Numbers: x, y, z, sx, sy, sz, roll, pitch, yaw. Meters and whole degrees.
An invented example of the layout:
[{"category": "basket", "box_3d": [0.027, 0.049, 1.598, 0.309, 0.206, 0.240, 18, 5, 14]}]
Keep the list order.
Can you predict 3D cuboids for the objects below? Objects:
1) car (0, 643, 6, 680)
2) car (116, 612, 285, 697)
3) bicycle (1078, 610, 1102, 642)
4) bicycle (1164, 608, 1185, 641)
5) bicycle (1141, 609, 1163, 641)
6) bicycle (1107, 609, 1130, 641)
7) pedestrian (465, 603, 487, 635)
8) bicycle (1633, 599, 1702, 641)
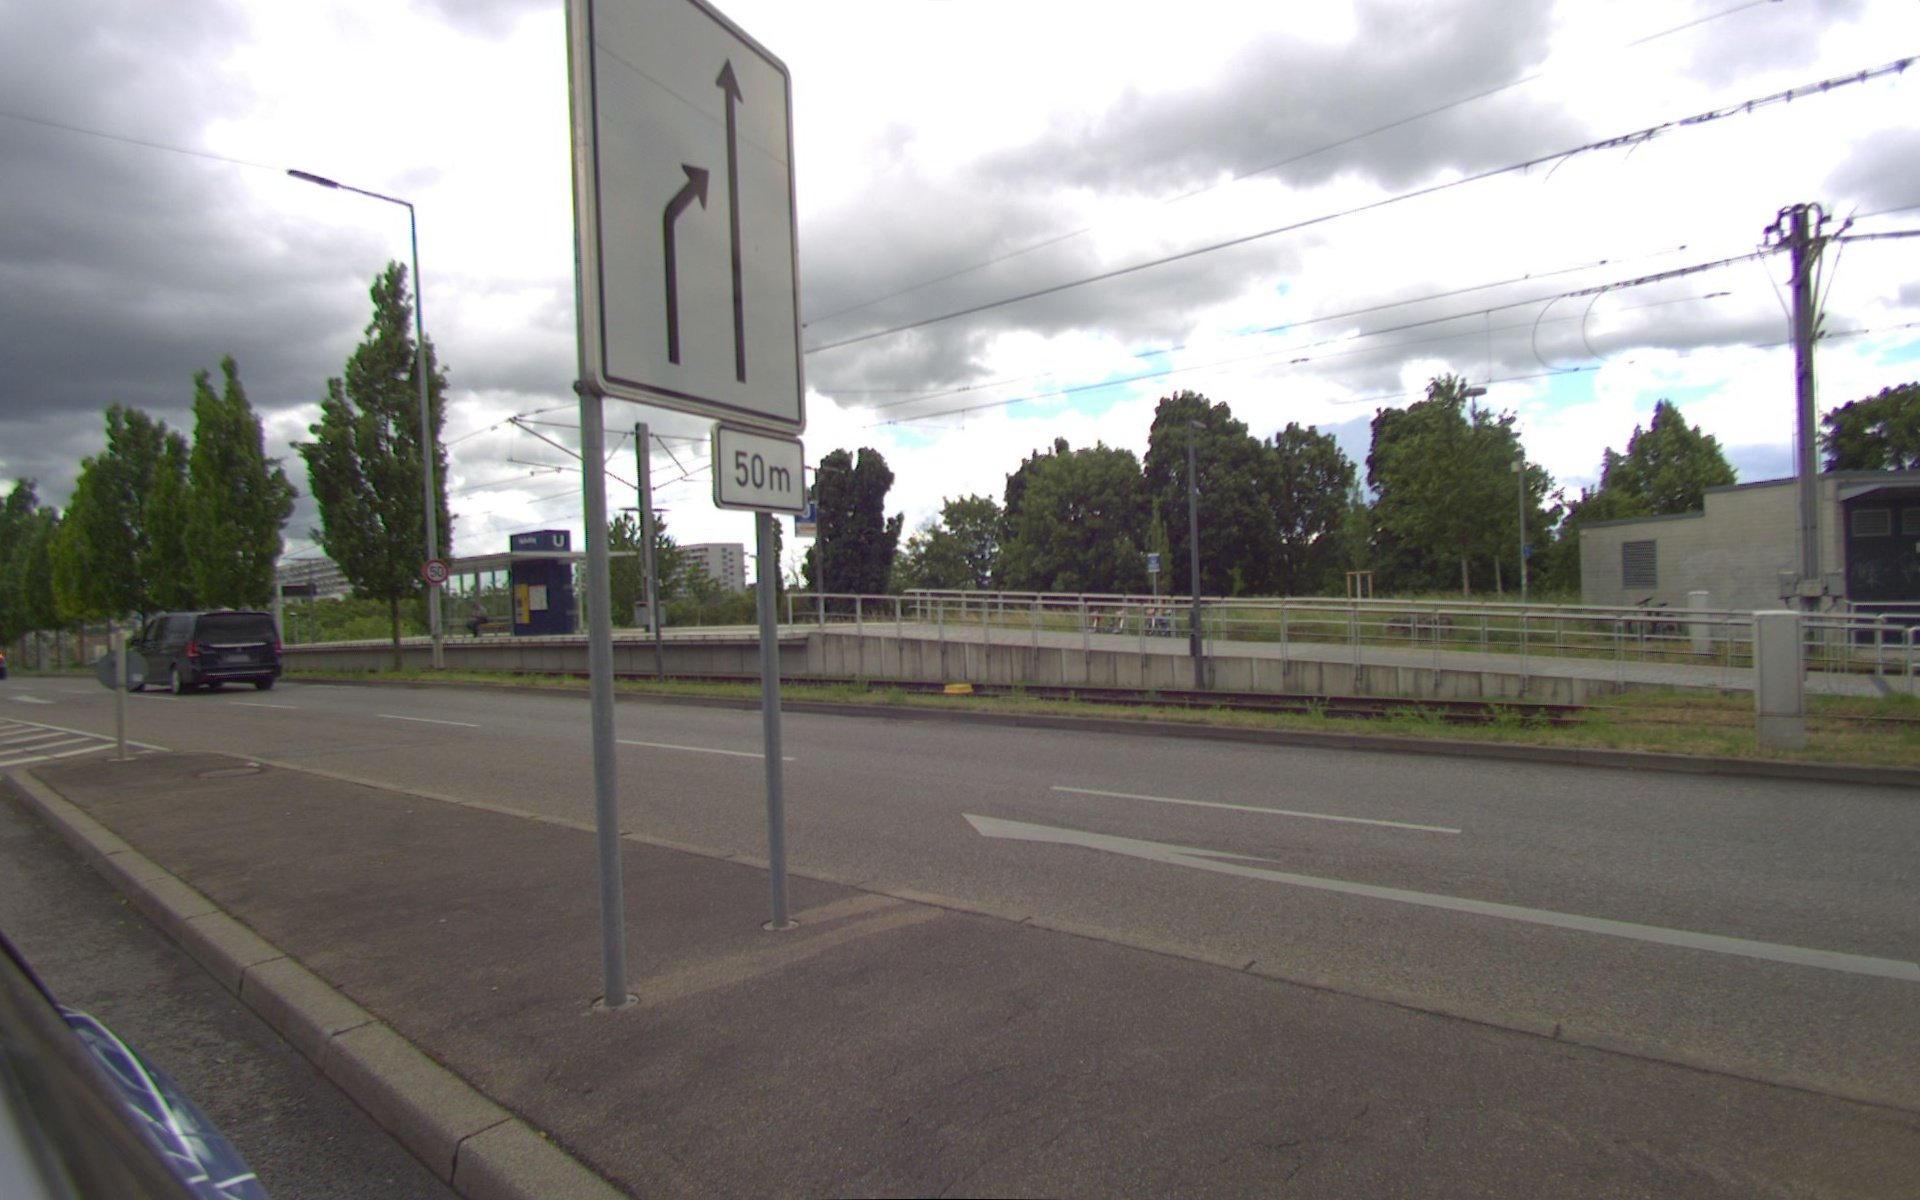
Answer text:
[{"category": "car", "box_3d": [-41.130, 2.583, 41.996, 3.655, 1.520, 1.719, -2, -1, 38]}, {"category": "car", "box_3d": [-18.192, 1.259, 24.140, 5.083, 1.826, 1.870, -2, -2, 37]}, {"category": "bicycle", "box_3d": [4.482, 0.885, 34.874, 0.531, 1.039, 1.804, -1, 0, 16]}, {"category": "bicycle", "box_3d": [7.151, 0.810, 33.723, 0.531, 1.039, 1.804, -1, 0, 16]}, {"category": "bicycle", "box_3d": [6.461, 0.827, 33.993, 0.531, 1.039, 1.804, -1, 0, 16]}, {"category": "bicycle", "box_3d": [5.404, 0.845, 34.447, 0.531, 1.039, 1.804, -1, 0, 16]}, {"category": "pedestrian", "box_3d": [-18.152, 0.706, 37.964, 0.447, 1.163, 0.593, -1, 0, 41]}, {"category": "bicycle", "box_3d": [18.211, 0.501, 26.105, 0.529, 1.039, 1.813, -1, 0, 1]}]
